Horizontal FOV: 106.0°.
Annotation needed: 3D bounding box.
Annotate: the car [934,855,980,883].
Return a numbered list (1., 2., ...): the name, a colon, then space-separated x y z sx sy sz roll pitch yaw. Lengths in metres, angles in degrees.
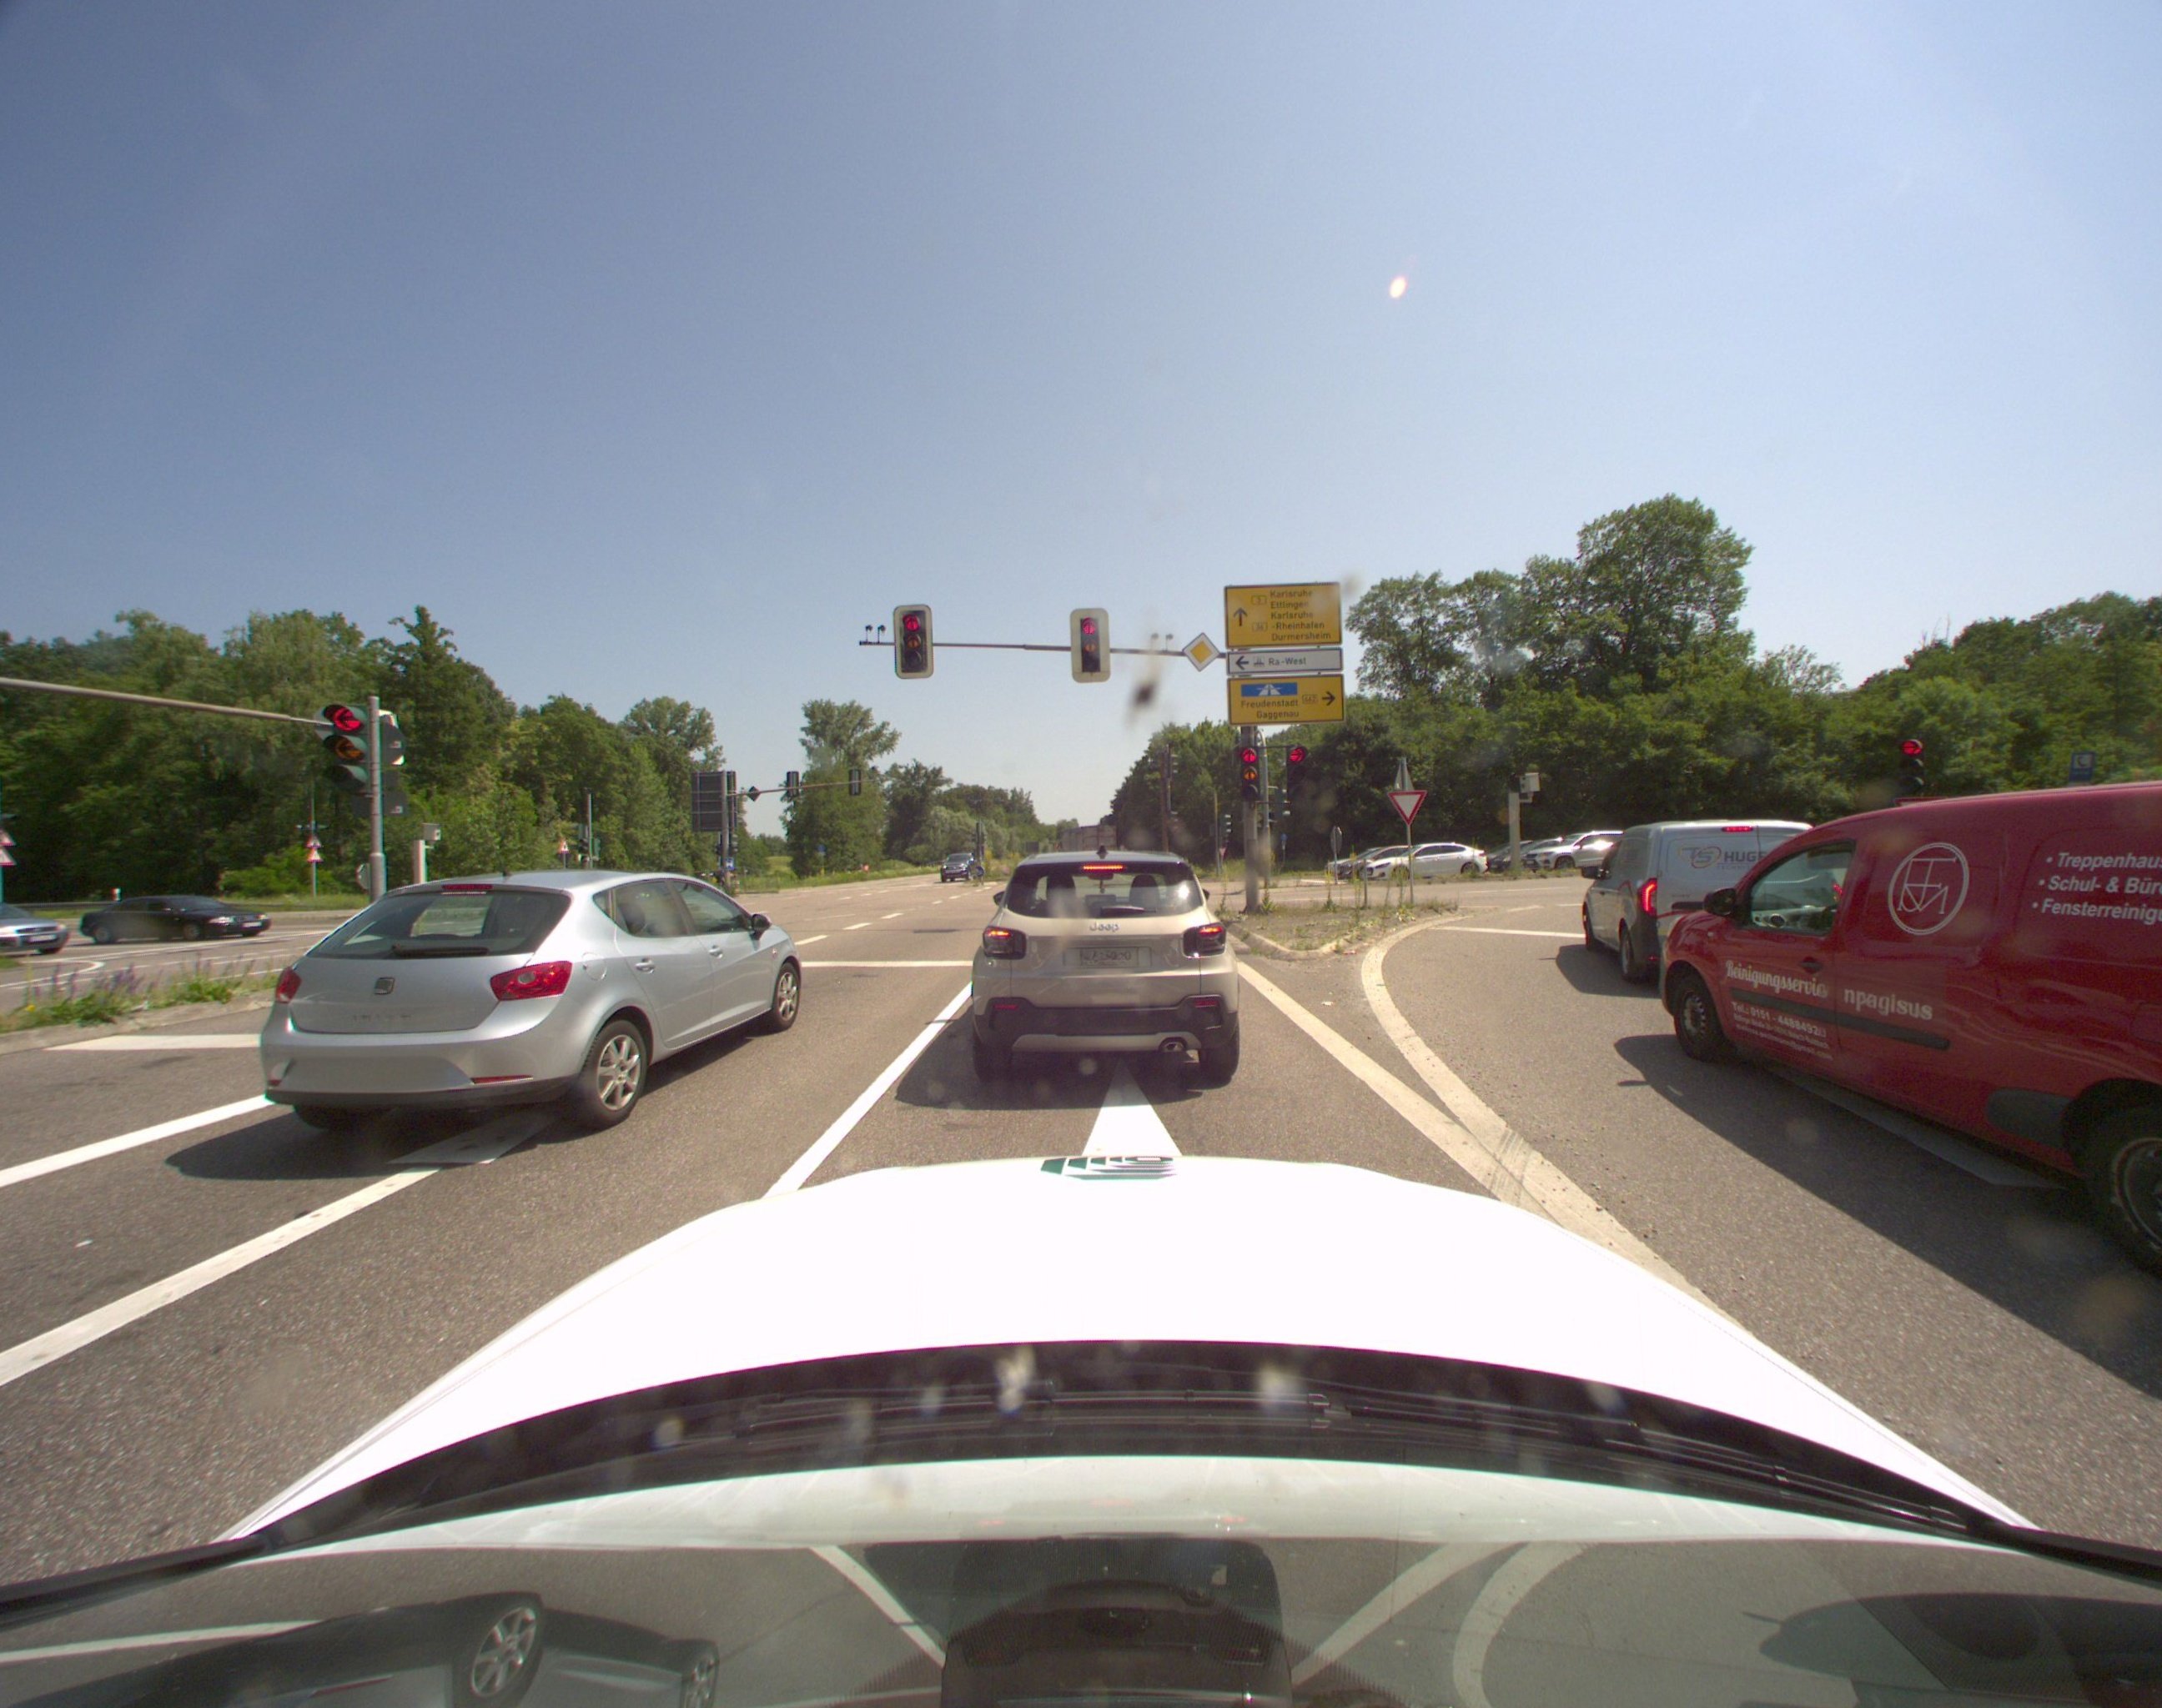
1. car: -8.092 0.925 53.778 1.986 1.678 5.367 -3 0 2

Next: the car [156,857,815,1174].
1. car: -3.359 0.749 5.646 1.659 1.430 3.830 0 0 2

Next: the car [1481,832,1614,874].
1. car: 19.687 -0.017 34.519 4.404 1.535 2.122 -2 -1 0

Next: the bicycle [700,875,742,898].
1. bicycle: -18.740 1.691 42.427 0.715 1.063 1.881 -2 0 38

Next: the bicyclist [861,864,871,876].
1. bicyclist: -22.307 1.645 84.426 0.752 1.195 0.594 -3 0 11

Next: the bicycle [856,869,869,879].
1. bicycle: -23.108 2.146 86.241 0.600 1.006 1.560 -3 -1 12

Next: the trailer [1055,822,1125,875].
1. trailer: 0.540 -0.362 65.989 3.385 3.989 10.759 0 -1 -12

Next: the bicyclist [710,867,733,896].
1. bicyclist: -18.757 1.414 42.464 0.914 1.459 0.721 -2 0 38

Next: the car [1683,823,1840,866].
1. car: 26.034 -0.338 31.269 4.315 1.414 1.974 -3 -1 1

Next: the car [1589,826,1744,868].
1. car: 25.190 -0.280 35.188 5.111 1.533 2.138 -3 -1 1

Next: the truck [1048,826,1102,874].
1. truck: -0.581 -0.316 71.457 3.337 3.989 6.502 0 -1 -14

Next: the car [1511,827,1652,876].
1. car: 19.248 -0.107 31.456 4.157 1.659 2.000 -2 0 1

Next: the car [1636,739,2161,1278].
1. car: 4.850 0.506 4.134 1.780 1.822 4.511 -1 0 12

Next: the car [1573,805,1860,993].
1. car: 7.318 0.419 9.889 1.740 1.773 4.136 -2 0 24

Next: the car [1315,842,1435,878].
1. car: 13.882 0.307 38.664 4.913 1.498 2.021 -2 -1 1

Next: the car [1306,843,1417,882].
1. car: 12.026 0.349 35.089 4.080 1.447 1.994 -2 0 -1

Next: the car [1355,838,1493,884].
1. car: 13.073 0.264 31.228 4.406 1.535 1.999 -2 0 -1

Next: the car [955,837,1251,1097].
1. car: 0.194 0.684 6.906 1.761 1.535 4.002 -1 0 2

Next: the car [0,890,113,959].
1. car: -28.573 1.863 20.927 4.788 1.567 2.130 -2 0 0

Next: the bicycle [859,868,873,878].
1. bicycle: -22.300 1.962 84.389 0.672 1.005 1.806 -3 0 11

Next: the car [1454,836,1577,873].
1. car: 20.323 0.020 38.222 4.600 1.498 2.112 -2 -1 1

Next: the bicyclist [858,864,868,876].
1. bicyclist: -23.081 1.668 86.299 0.730 1.195 0.594 -3 -1 12

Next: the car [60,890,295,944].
1. car: -27.332 1.881 24.774 4.788 1.290 2.106 -2 0 1
